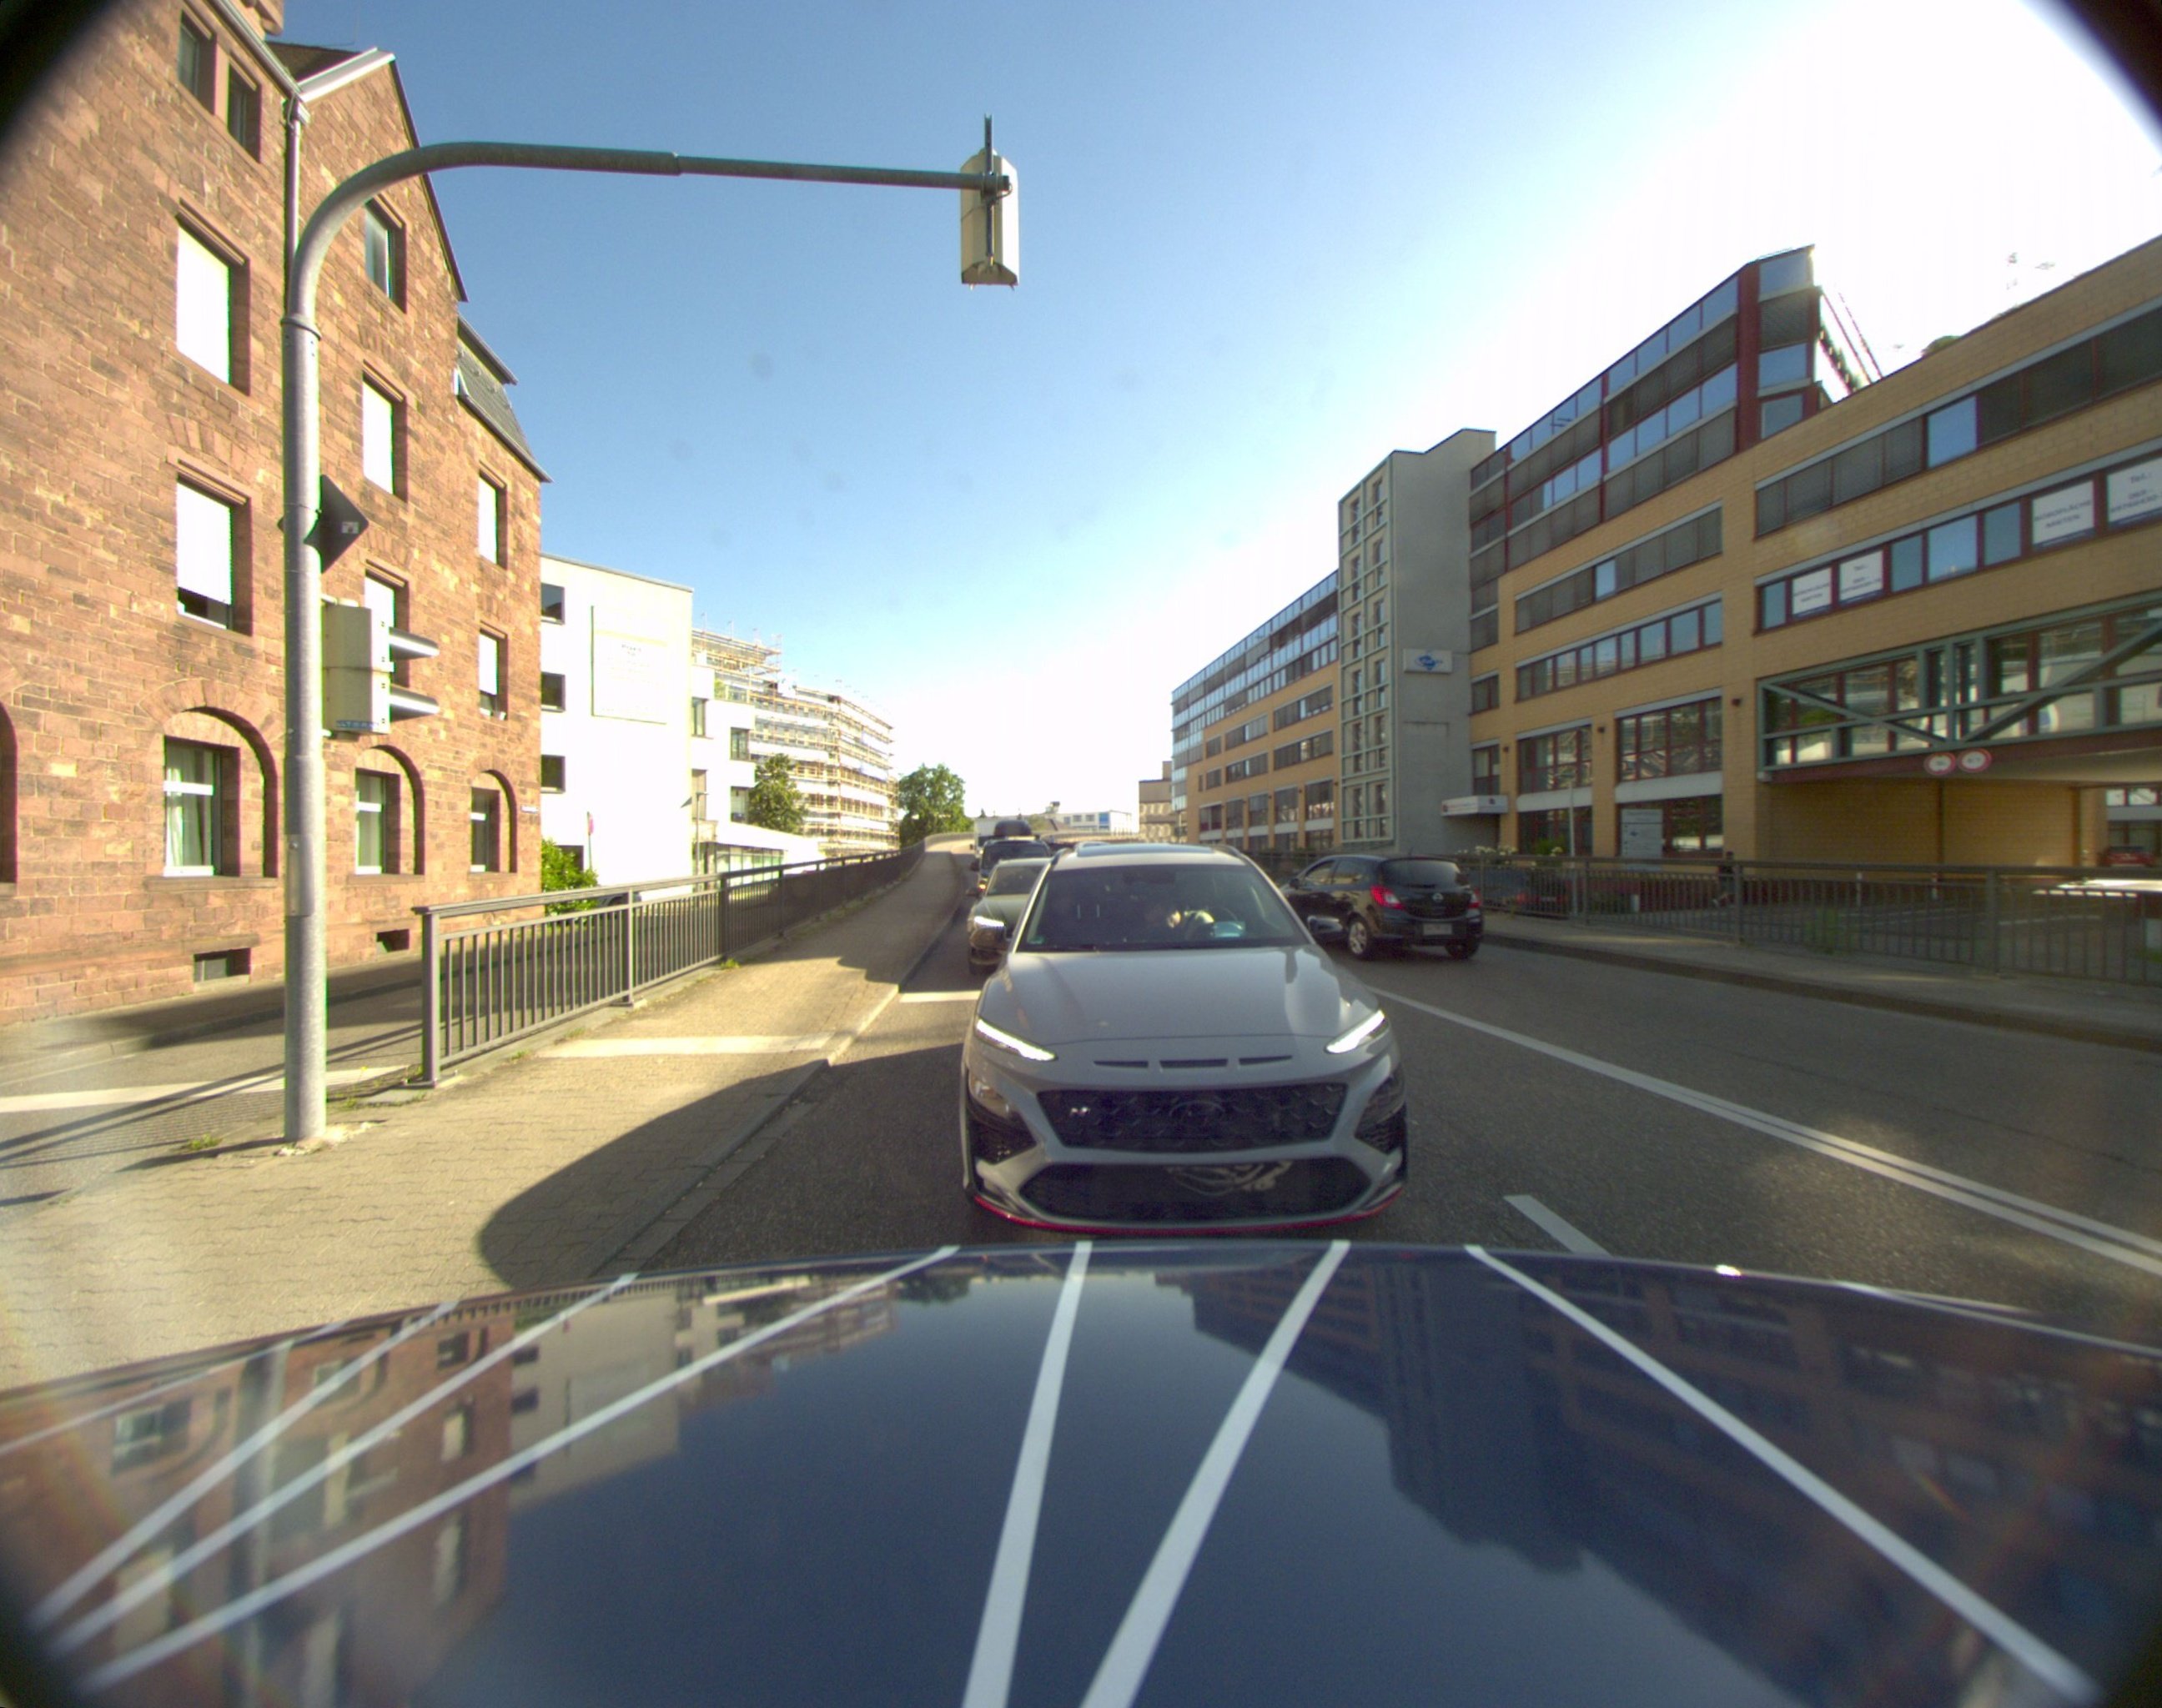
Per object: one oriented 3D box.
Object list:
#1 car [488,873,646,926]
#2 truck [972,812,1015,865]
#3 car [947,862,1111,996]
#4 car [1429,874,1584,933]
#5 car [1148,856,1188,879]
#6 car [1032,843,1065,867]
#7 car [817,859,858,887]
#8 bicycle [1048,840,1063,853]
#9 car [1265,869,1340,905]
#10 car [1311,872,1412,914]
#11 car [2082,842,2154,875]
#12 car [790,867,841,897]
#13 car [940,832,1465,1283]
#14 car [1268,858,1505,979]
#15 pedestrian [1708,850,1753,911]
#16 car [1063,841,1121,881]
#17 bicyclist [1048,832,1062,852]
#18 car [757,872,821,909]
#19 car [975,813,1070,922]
[{"bbox_3d":[-17.048,1.442,25.312,4.101,1.522,1.914,0,-1,-44],"label":"car"},{"bbox_3d":[-5.551,-0.860,48.155,2.504,3.109,6.956,-1,-1,-7],"label":"truck"},{"bbox_3d":[-0.763,0.883,11.091,1.879,1.462,4.633,0,0,-4],"label":"car"},{"bbox_3d":[12.578,1.403,22.788,1.639,1.514,4.156,0,-1,-14],"label":"car"},{"bbox_3d":[6.384,0.962,56.070,2.000,1.499,3.997,-2,1,-7],"label":"car"},{"bbox_3d":[-2.315,0.043,52.884,1.688,1.593,4.753,0,1,-9],"label":"car"},{"bbox_3d":[-15.792,1.226,49.444,2.054,1.676,4.089,-1,-1,-11],"label":"car"},{"bbox_3d":[-2.415,-0.693,71.774,1.083,1.223,2.781,-2,1,-9],"label":"bicycle"},{"bbox_3d":[10.270,1.485,35.548,1.885,1.554,3.997,0,-1,-9],"label":"car"},{"bbox_3d":[11.138,1.501,30.512,1.881,1.514,4.157,0,-1,-11],"label":"car"},{"bbox_3d":[54.029,0.221,39.654,4.007,1.512,1.763,-3,1,-43],"label":"car"},{"bbox_3d":[-14.420,1.481,41.499,2.054,1.522,4.089,-1,-1,-11],"label":"car"},{"bbox_3d":[0.506,0.744,4.838,1.878,1.612,4.197,0,0,2],"label":"car"},{"bbox_3d":[4.307,0.811,11.411,1.573,1.400,3.818,0,1,-9],"label":"car"},{"bbox_3d":[20.120,0.819,23.547,0.747,1.840,0.705,-2,0,-5],"label":"pedestrian"},{"bbox_3d":[0.440,0.278,35.181,1.838,1.745,4.485,0,1,-10],"label":"car"},{"bbox_3d":[-2.434,-1.144,71.749,1.083,1.861,1.083,-2,1,-9],"label":"bicyclist"},{"bbox_3d":[-13.353,1.622,34.977,2.054,1.522,4.089,-1,-1,-11],"label":"car"},{"bbox_3d":[-1.443,0.310,18.224,1.951,2.248,4.783,0,-1,-5],"label":"car"}]
